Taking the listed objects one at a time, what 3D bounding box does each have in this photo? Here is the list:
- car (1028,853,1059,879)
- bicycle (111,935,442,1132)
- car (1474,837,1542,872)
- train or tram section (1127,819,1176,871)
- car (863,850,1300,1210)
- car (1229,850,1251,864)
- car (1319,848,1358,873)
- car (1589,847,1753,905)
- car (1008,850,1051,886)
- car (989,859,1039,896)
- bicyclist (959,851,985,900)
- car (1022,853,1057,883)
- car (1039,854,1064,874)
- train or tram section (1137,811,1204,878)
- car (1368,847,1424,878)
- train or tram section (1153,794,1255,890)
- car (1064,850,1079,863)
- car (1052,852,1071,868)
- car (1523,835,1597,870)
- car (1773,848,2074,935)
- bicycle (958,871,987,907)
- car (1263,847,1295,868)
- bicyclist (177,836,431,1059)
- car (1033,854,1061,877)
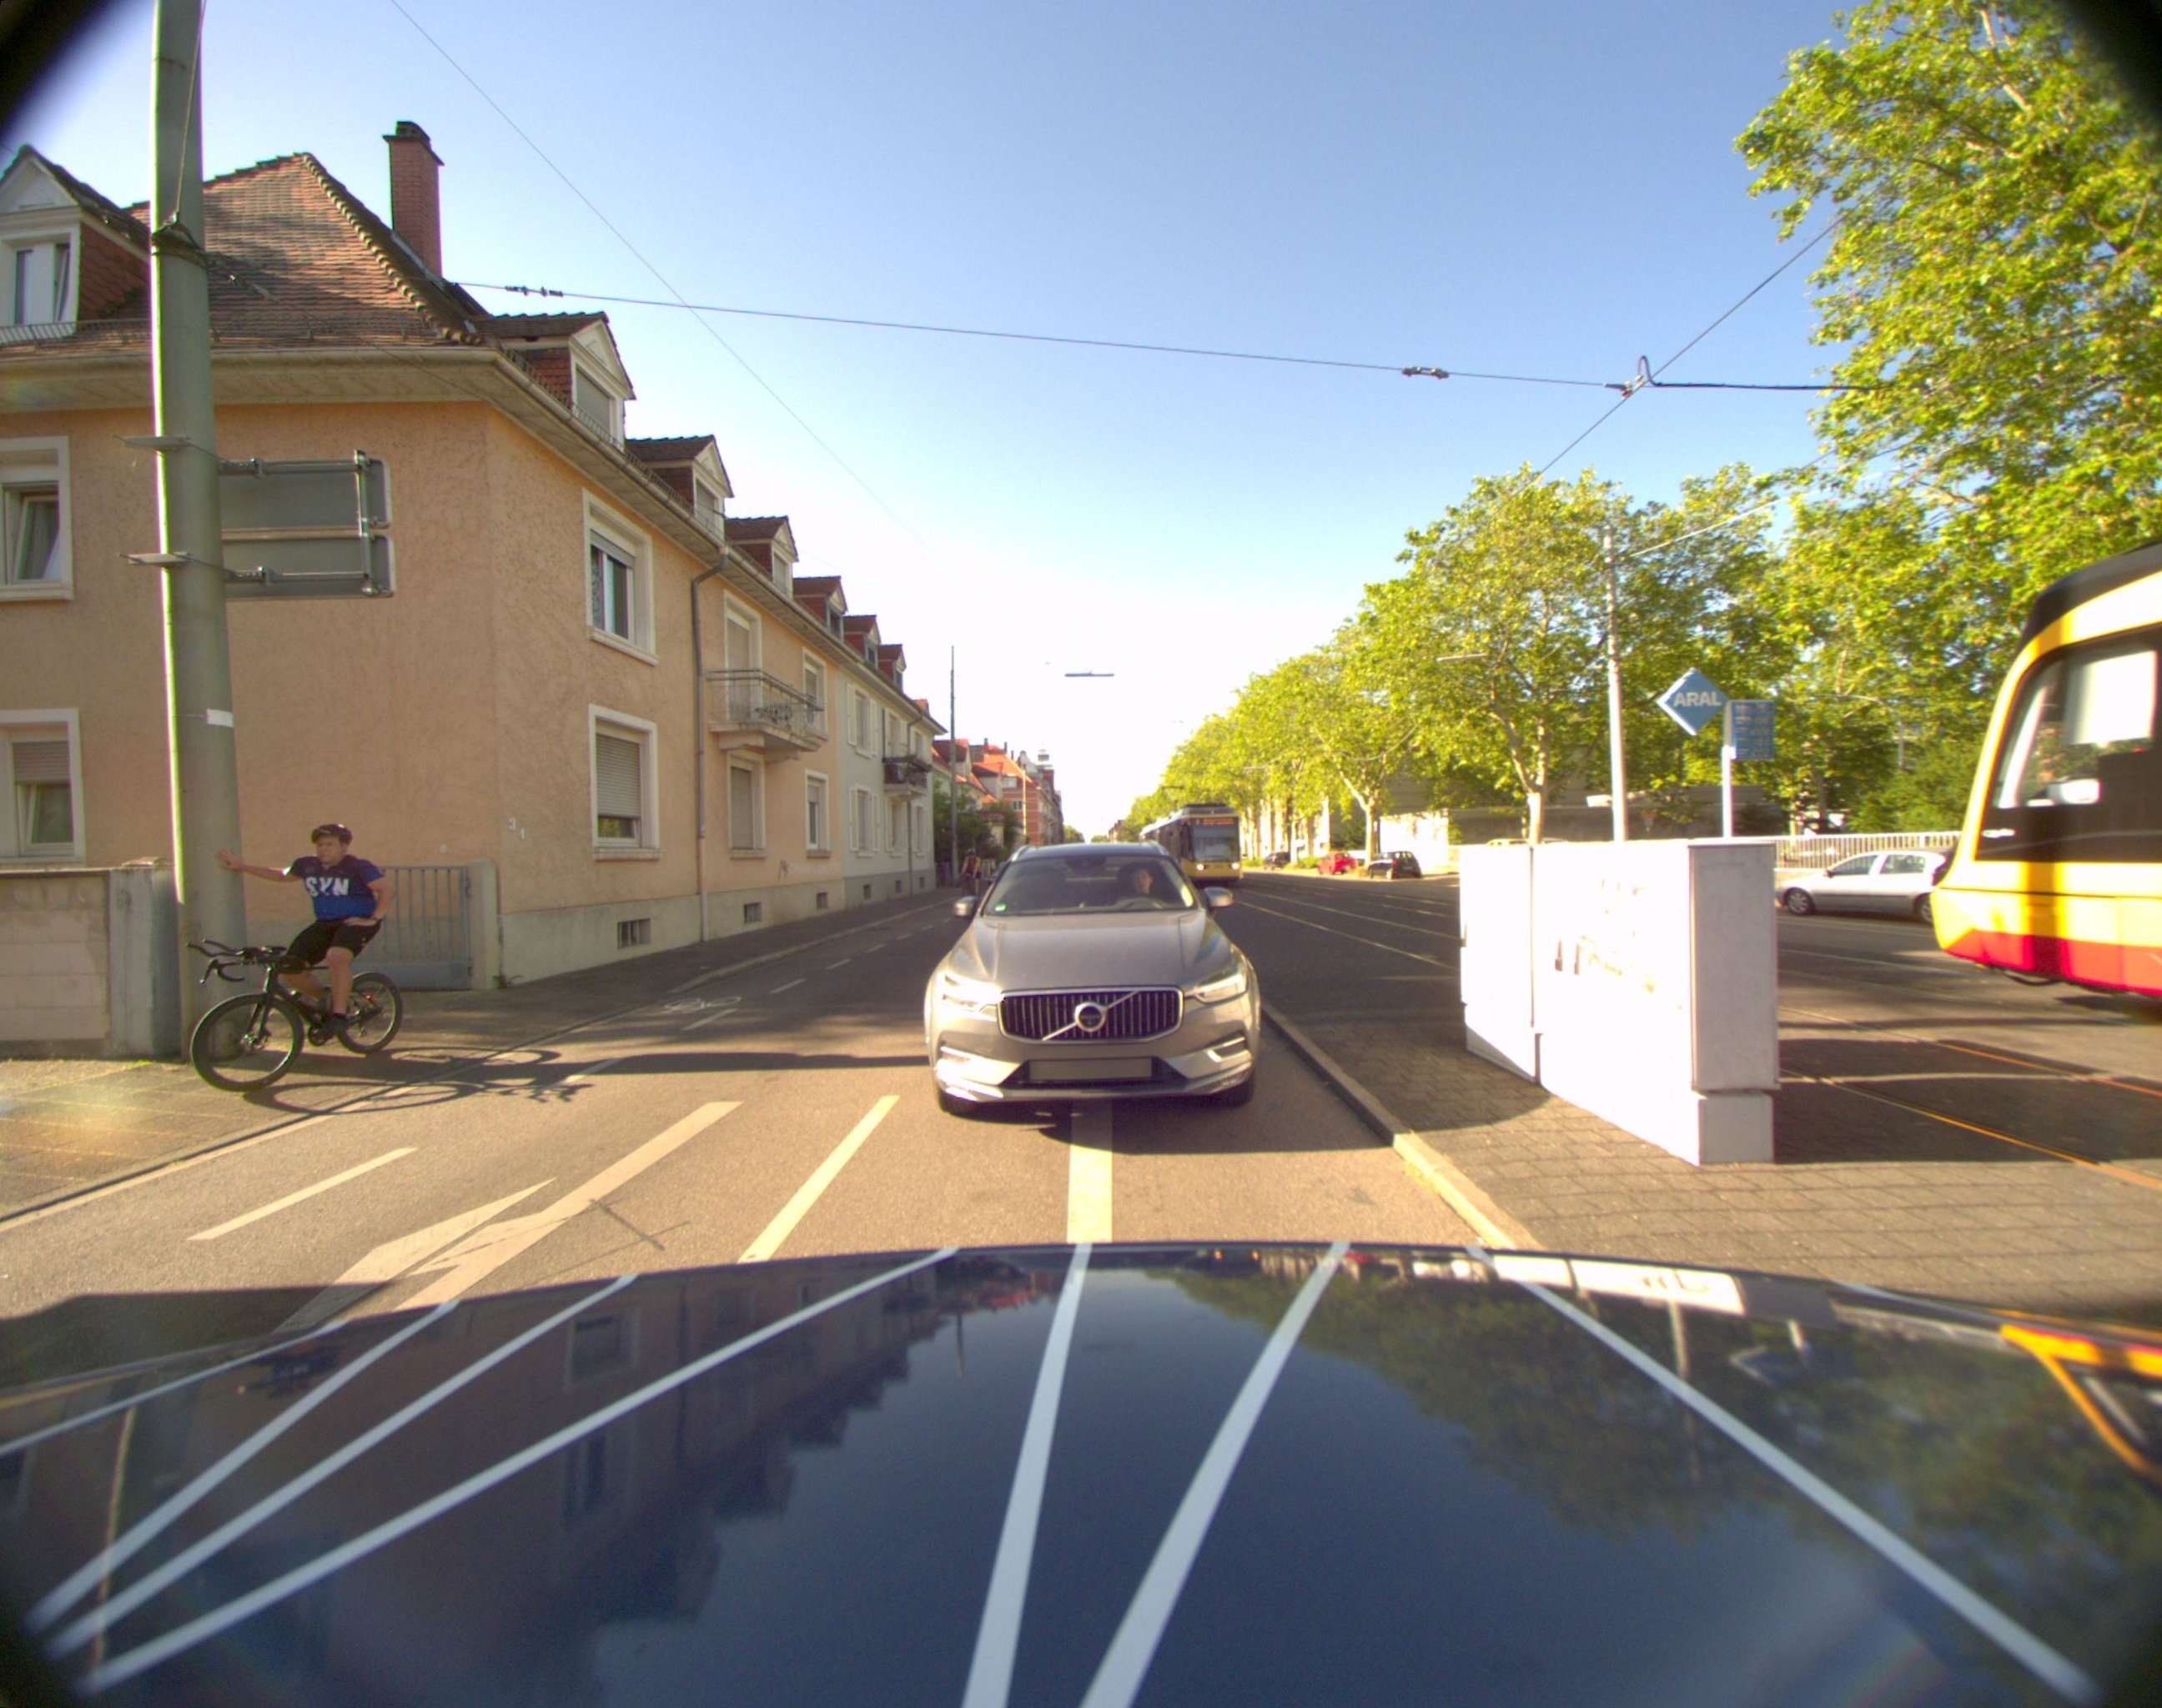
[{"bbox_3d":[-2.633,0.835,53.996,1.793,1.673,3.814,-3,0,2],"label":"car"},{"bbox_3d":[-5.990,1.265,5.837,0.592,1.062,1.775,4,0,1],"label":"bicycle"},{"bbox_3d":[21.546,0.009,38.465,1.599,1.606,3.304,-2,0,1],"label":"car"},{"bbox_3d":[5.441,-0.663,60.876,2.717,3.643,12.653,-1,0,0],"label":"train or tram section"},{"bbox_3d":[0.032,0.827,5.744,1.998,1.628,4.306,-2,0,1],"label":"car"},{"bbox_3d":[17.461,0.287,83.535,1.695,1.440,3.749,-3,0,1],"label":"car"},{"bbox_3d":[16.877,0.430,49.859,1.599,1.498,2.622,-3,0,1],"label":"car"},{"bbox_3d":[16.412,0.556,21.408,1.695,1.395,3.749,-3,0,1],"label":"car"},{"bbox_3d":[-2.824,0.741,42.811,1.793,1.828,5.149,-3,0,2],"label":"car"},{"bbox_3d":[-3.223,1.084,37.038,1.695,1.571,3.815,-3,0,5],"label":"car"},{"bbox_3d":[-3.734,0.728,26.082,0.685,1.611,0.855,-2,1,1],"label":"bicyclist"},{"bbox_3d":[-2.586,0.853,48.476,1.793,1.673,3.814,-3,0,2],"label":"car"},{"bbox_3d":[-2.553,0.859,67.066,1.793,1.673,3.814,-3,0,2],"label":"car"},{"bbox_3d":[5.395,-0.571,48.224,2.717,3.643,12.653,-1,0,0],"label":"train or tram section"},{"bbox_3d":[16.885,0.422,40.888,1.599,1.498,3.304,-3,0,1],"label":"car"},{"bbox_3d":[5.348,-0.498,35.603,2.717,3.643,12.653,-1,0,0],"label":"train or tram section"},{"bbox_3d":[-1.297,0.363,107.094,1.793,1.673,3.814,-3,0,2],"label":"car"},{"bbox_3d":[-2.153,0.634,85.360,1.793,1.673,3.814,-3,0,2],"label":"car"},{"bbox_3d":[23.879,-0.088,38.018,1.599,1.583,3.304,-2,0,1],"label":"car"},{"bbox_3d":[16.227,0.636,14.973,1.695,1.395,3.813,-3,0,1],"label":"car"},{"bbox_3d":[-3.721,1.179,26.158,0.685,1.098,1.806,-2,1,1],"label":"bicycle"},{"bbox_3d":[17.136,0.269,65.881,1.695,1.648,3.749,-3,0,1],"label":"car"},{"bbox_3d":[-6.184,0.698,6.115,1.051,1.599,0.885,4,0,1],"label":"bicyclist"},{"bbox_3d":[-2.721,0.885,61.021,1.793,1.673,3.814,-3,0,2],"label":"car"}]
